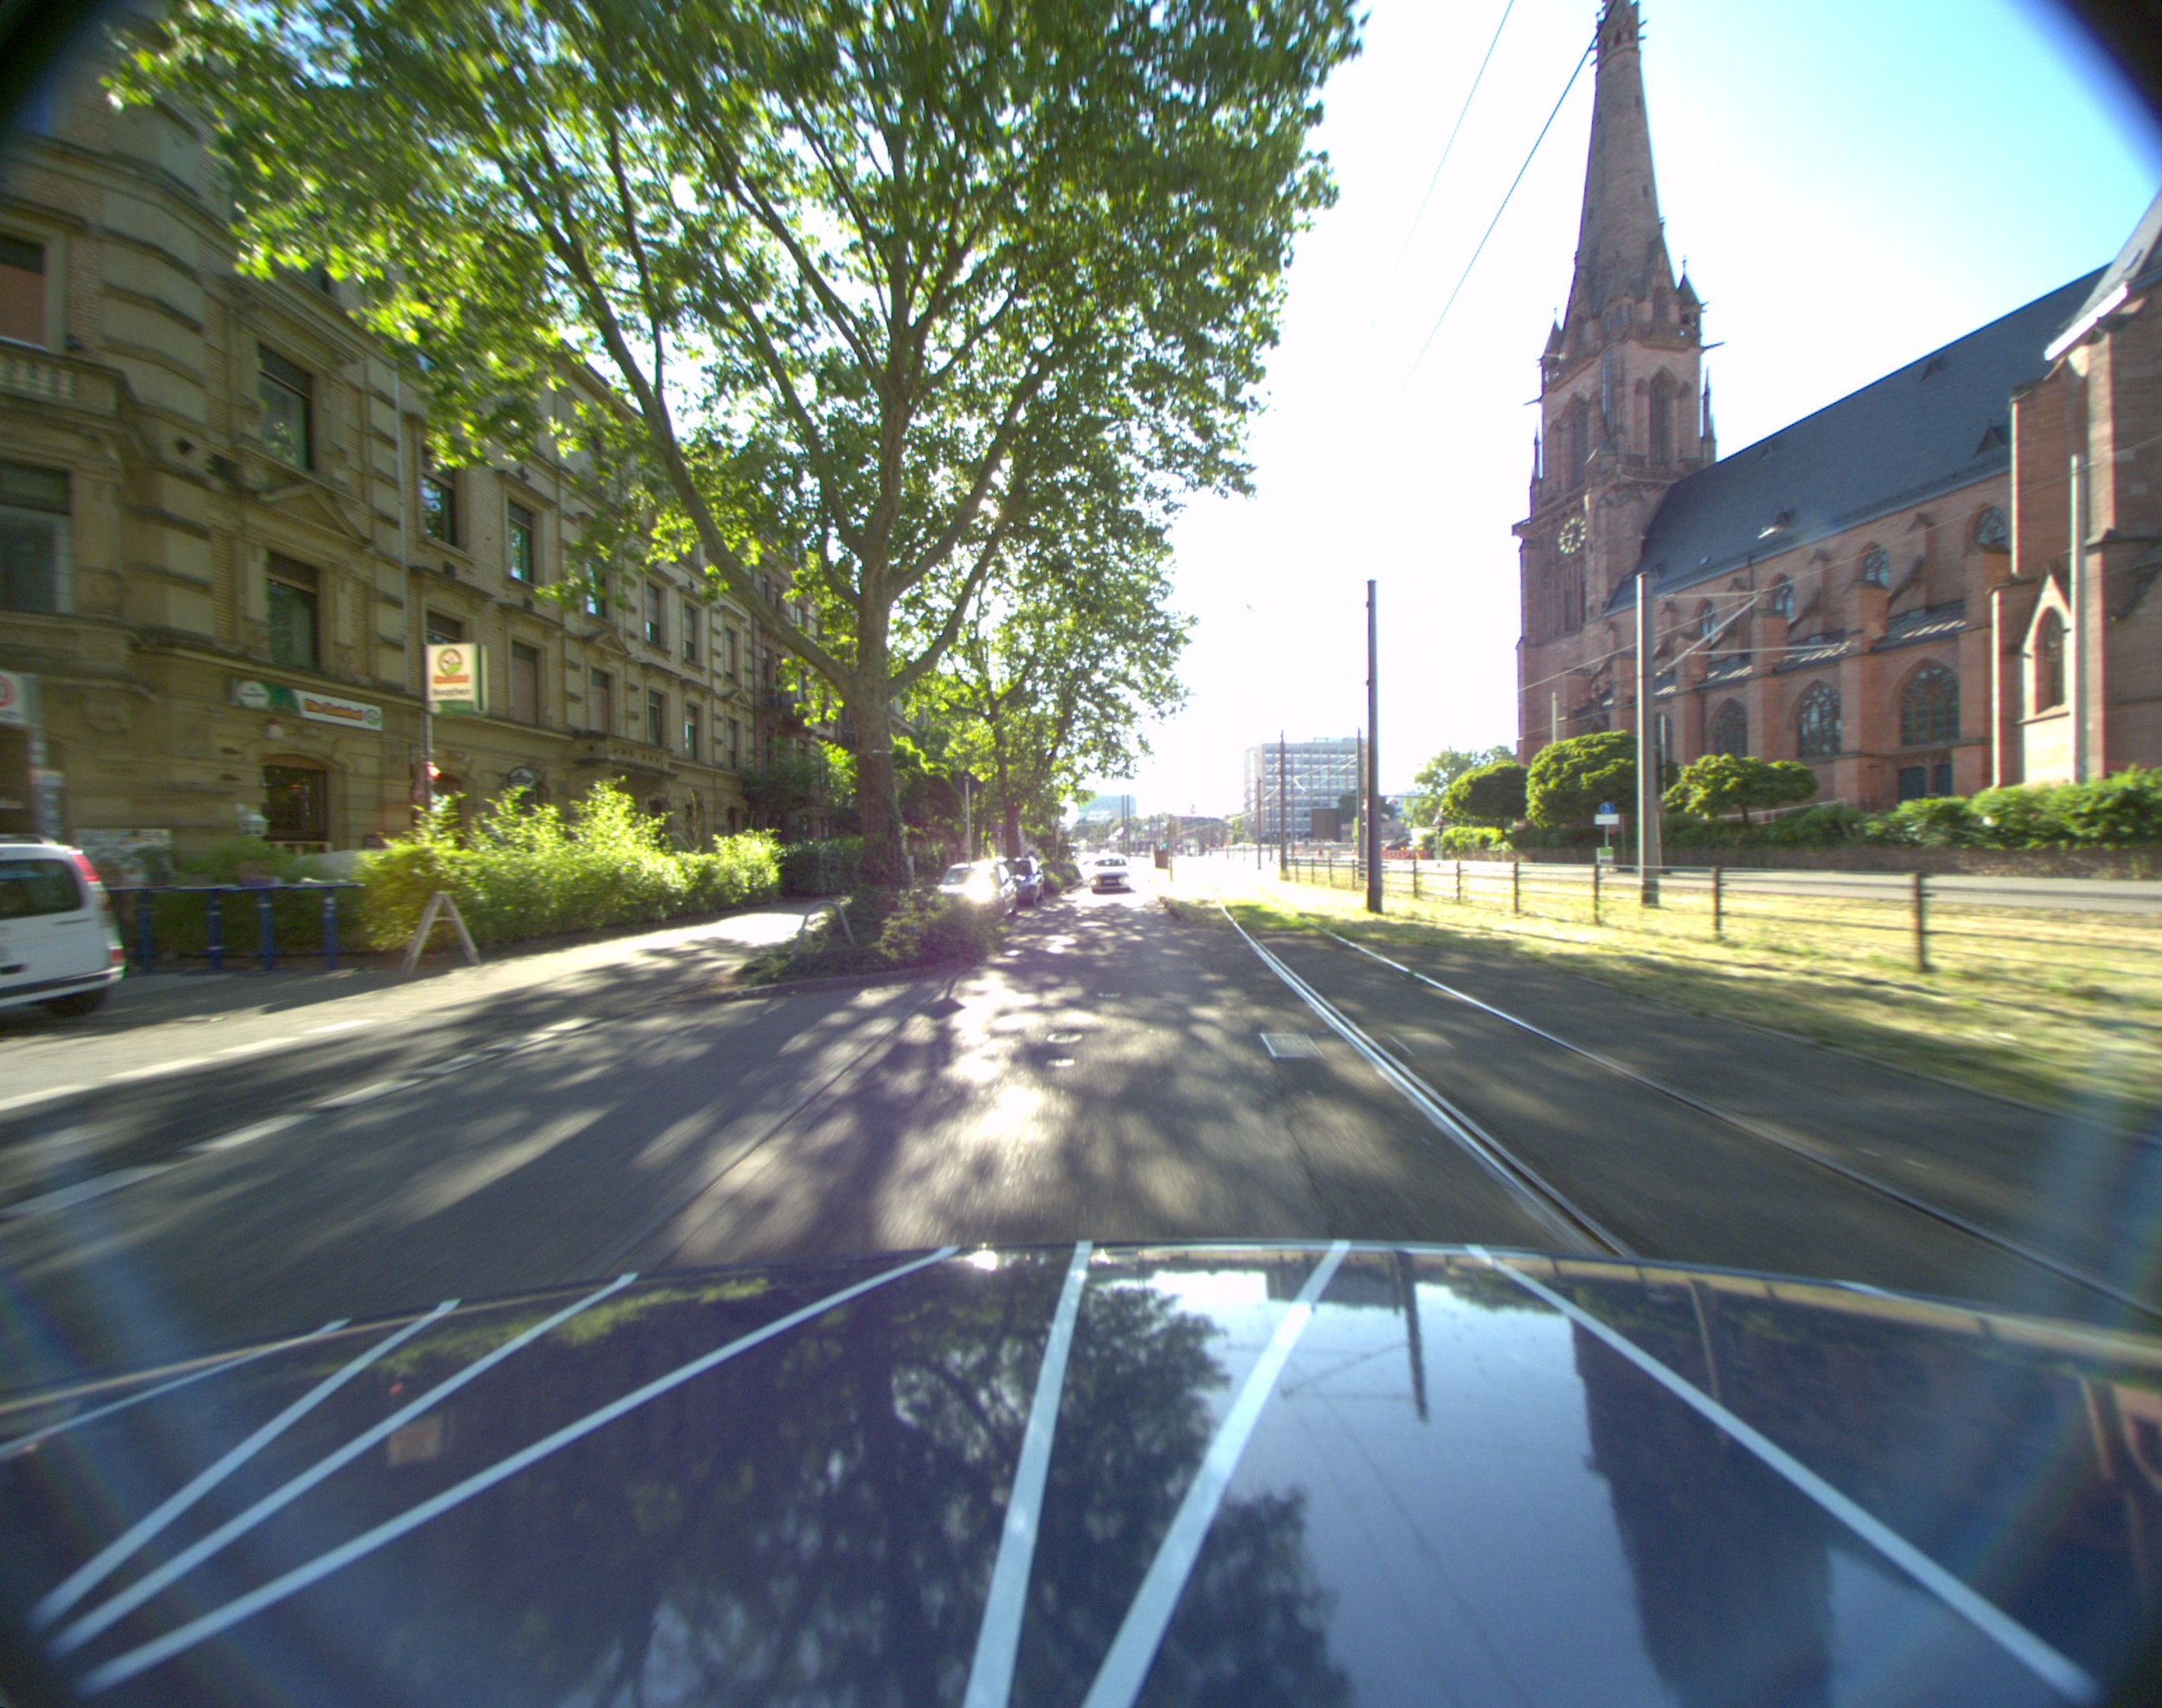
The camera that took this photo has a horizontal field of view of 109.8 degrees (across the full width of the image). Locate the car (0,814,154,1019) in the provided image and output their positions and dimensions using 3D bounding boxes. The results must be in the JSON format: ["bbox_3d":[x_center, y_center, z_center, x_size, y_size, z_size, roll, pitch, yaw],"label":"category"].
[{"bbox_3d":[-11.969,0.645,6.954,4.559,1.836,1.907,-2,2,1],"label":"car"}]

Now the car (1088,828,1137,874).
[{"bbox_3d":[1.348,-0.133,32.282,1.823,1.729,4.000,-4,0,3],"label":"car"}]

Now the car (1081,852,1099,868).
[{"bbox_3d":[1.016,0.696,87.272,1.823,1.605,3.999,-4,2,3],"label":"car"}]

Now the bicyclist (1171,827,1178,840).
[{"bbox_3d":[13.458,-2.941,109.043,0.775,1.861,0.611,-4,2,20],"label":"bicyclist"}]

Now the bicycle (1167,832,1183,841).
[{"bbox_3d":[13.503,-2.543,109.063,2.063,1.077,0.611,-4,2,20],"label":"bicycle"}]

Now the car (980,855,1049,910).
[{"bbox_3d":[-2.112,0.854,25.372,1.680,1.508,4.722,-1,2,3],"label":"car"}]

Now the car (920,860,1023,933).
[{"bbox_3d":[-2.524,0.928,18.624,1.680,1.386,4.569,-1,2,2],"label":"car"}]

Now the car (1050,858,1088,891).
[{"bbox_3d":[-0.633,1.134,43.374,1.823,1.605,4.000,-4,1,3],"label":"car"}]
